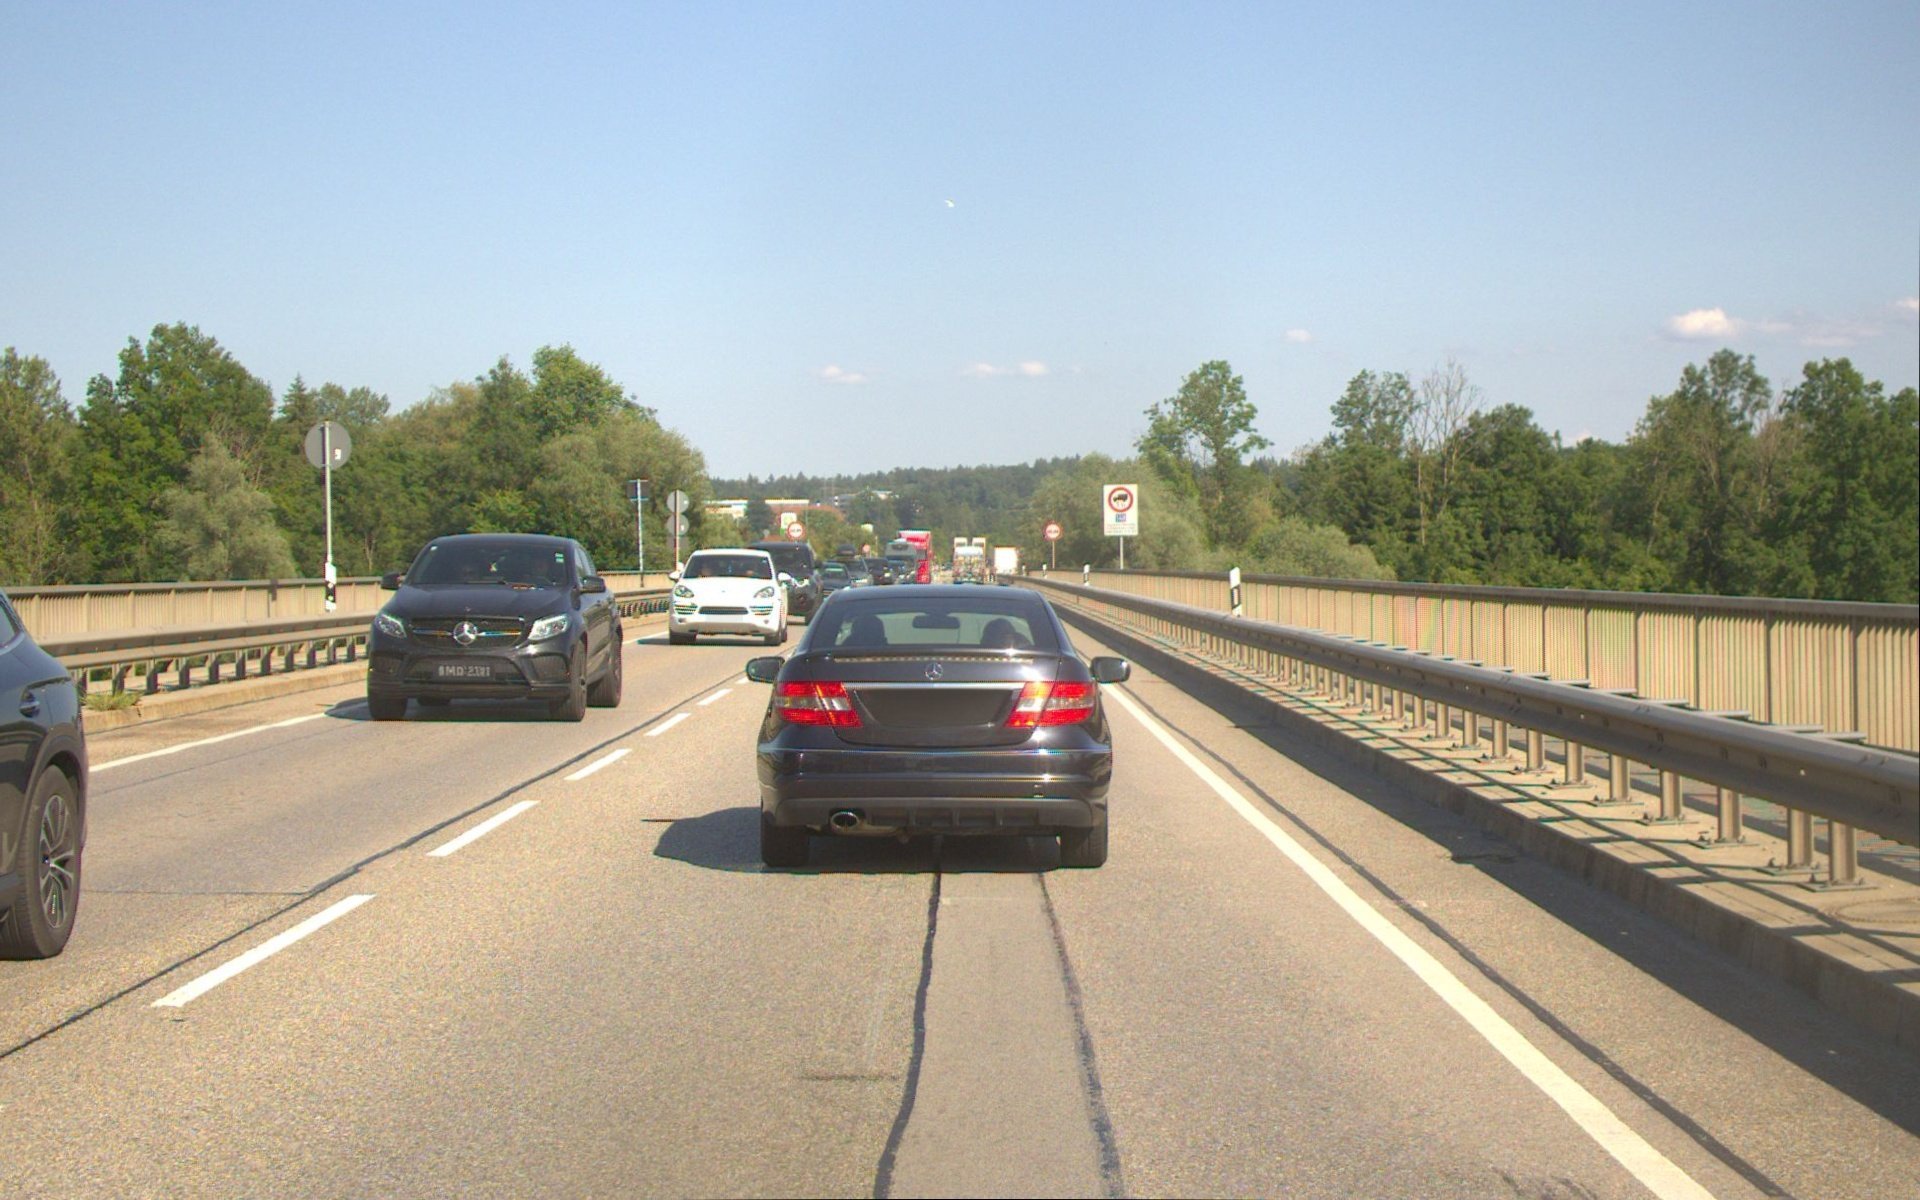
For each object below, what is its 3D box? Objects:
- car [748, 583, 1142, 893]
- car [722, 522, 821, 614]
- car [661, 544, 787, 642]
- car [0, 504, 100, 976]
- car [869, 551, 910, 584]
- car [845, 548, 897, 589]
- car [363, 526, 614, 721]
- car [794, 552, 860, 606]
[{"bbox_3d":[-0.057,0.623,17.793,1.793,1.371,4.000,1,1,0],"label":"car"},{"bbox_3d":[-4.398,-0.768,80.365,2.037,1.867,5.070,6,1,-3],"label":"car"},{"bbox_3d":[-4.126,-0.149,60.718,1.983,1.645,4.598,1,1,-1],"label":"car"},{"bbox_3d":[-4.249,0.495,11.245,1.802,1.655,4.433,1,1,-1],"label":"car"},{"bbox_3d":[-3.368,-1.557,163.969,1.806,1.572,4.201,0,1,-3],"label":"car"},{"bbox_3d":[-3.832,-1.354,147.378,2.053,1.647,4.722,2,1,-3],"label":"car"},{"bbox_3d":[-4.410,0.173,32.749,1.949,1.688,4.477,1,1,-3],"label":"car"},{"bbox_3d":[-3.805,-0.601,97.627,1.765,1.442,4.457,1,1,-3],"label":"car"}]
